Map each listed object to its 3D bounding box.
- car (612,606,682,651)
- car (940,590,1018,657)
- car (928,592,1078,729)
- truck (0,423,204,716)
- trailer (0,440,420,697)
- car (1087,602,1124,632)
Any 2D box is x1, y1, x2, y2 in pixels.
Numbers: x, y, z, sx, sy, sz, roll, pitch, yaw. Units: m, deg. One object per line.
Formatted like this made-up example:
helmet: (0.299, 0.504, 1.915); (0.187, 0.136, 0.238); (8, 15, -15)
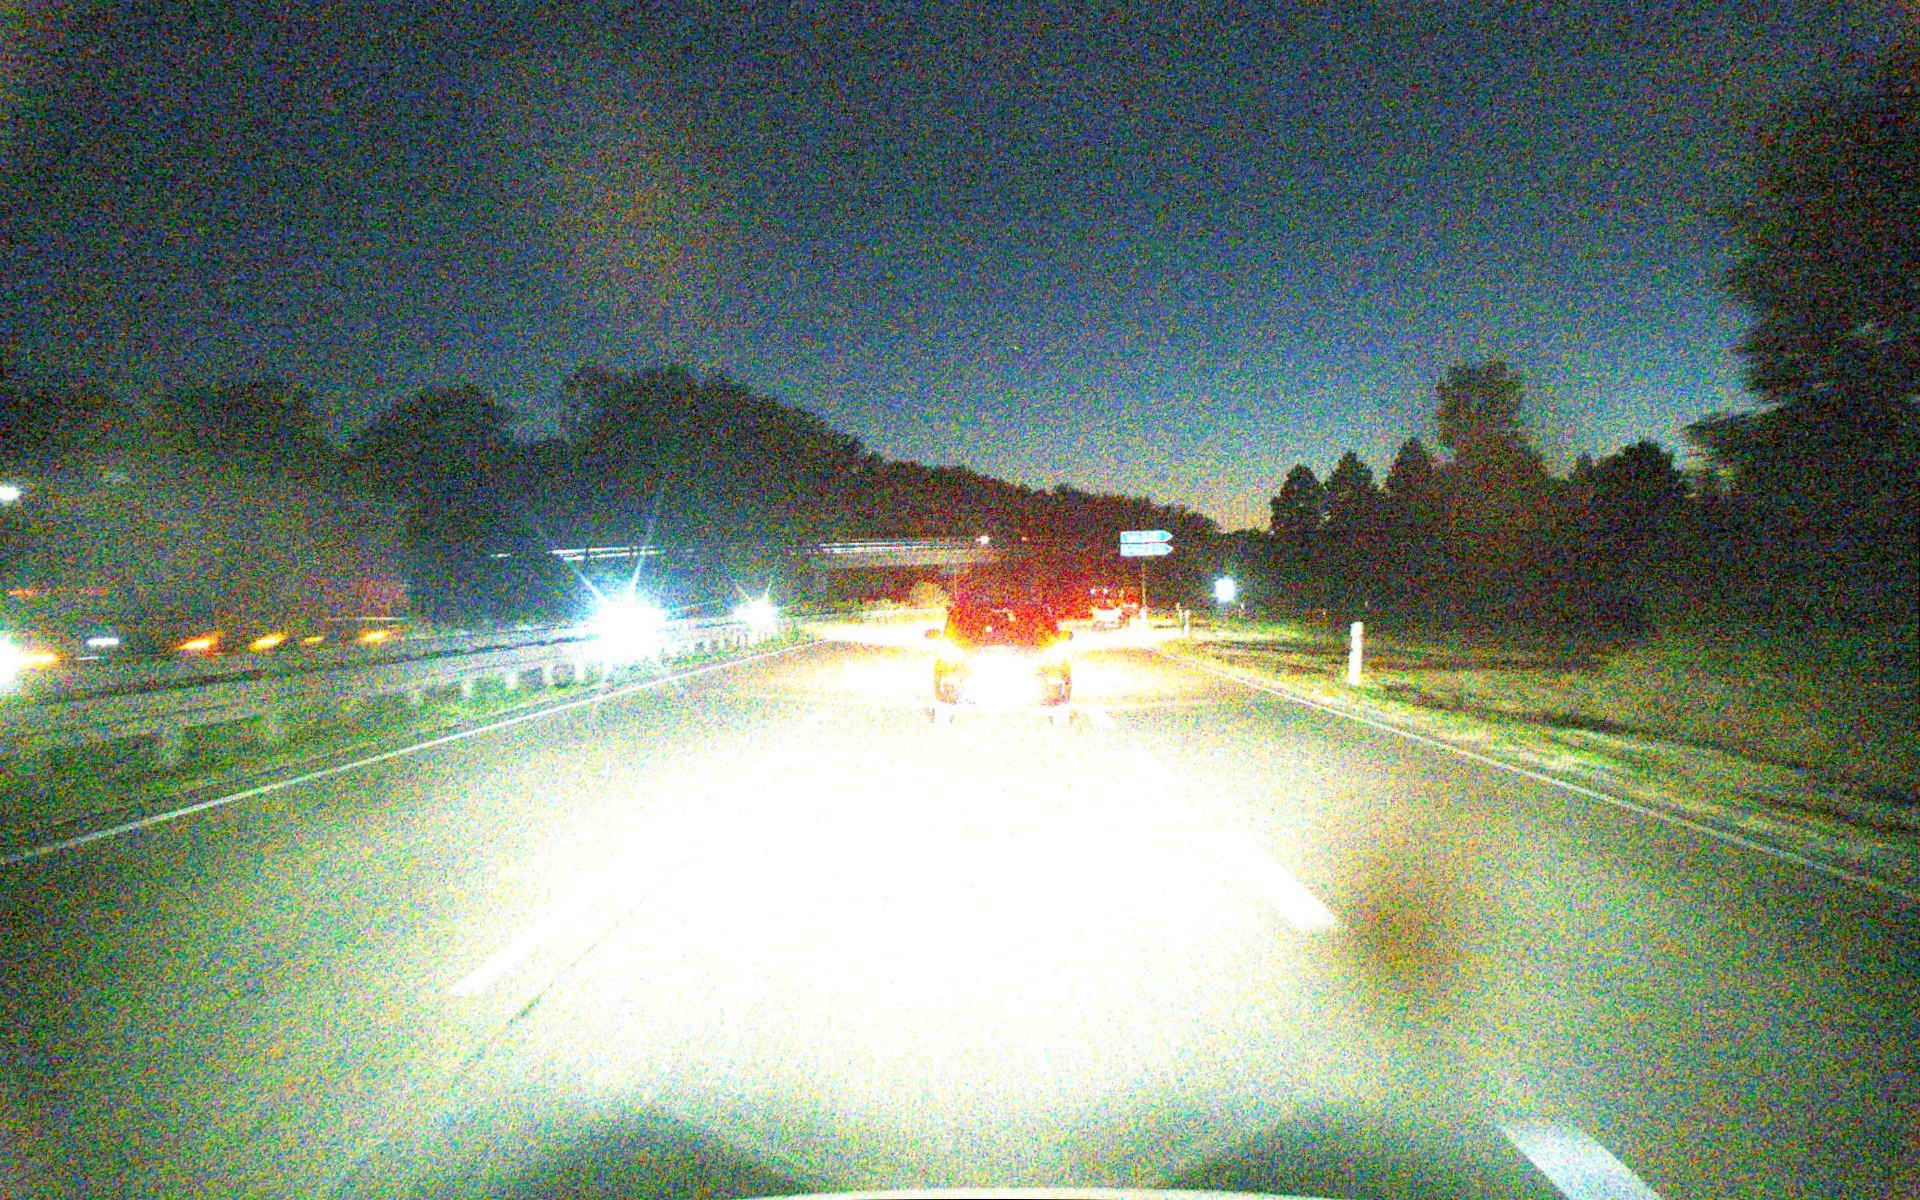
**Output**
car: (-12.752, 1.140, 67.641); (1.952, 1.713, 4.001); (0, 0, 2)
car: (0.442, 0.572, 43.021); (1.900, 1.636, 4.643); (0, 0, -1)
car: (0.471, 0.676, 20.362); (1.656, 1.503, 4.000); (0, 0, 0)
truck: (-15.009, -0.453, 26.896); (2.621, 4.250, 5.869); (0, 0, 1)
trailer: (-14.847, -0.553, 34.109); (2.621, 4.222, 13.748); (0, 0, 1)
car: (8.307, 0.959, 94.817); (1.698, 1.646, 3.797); (0, 0, -2)
